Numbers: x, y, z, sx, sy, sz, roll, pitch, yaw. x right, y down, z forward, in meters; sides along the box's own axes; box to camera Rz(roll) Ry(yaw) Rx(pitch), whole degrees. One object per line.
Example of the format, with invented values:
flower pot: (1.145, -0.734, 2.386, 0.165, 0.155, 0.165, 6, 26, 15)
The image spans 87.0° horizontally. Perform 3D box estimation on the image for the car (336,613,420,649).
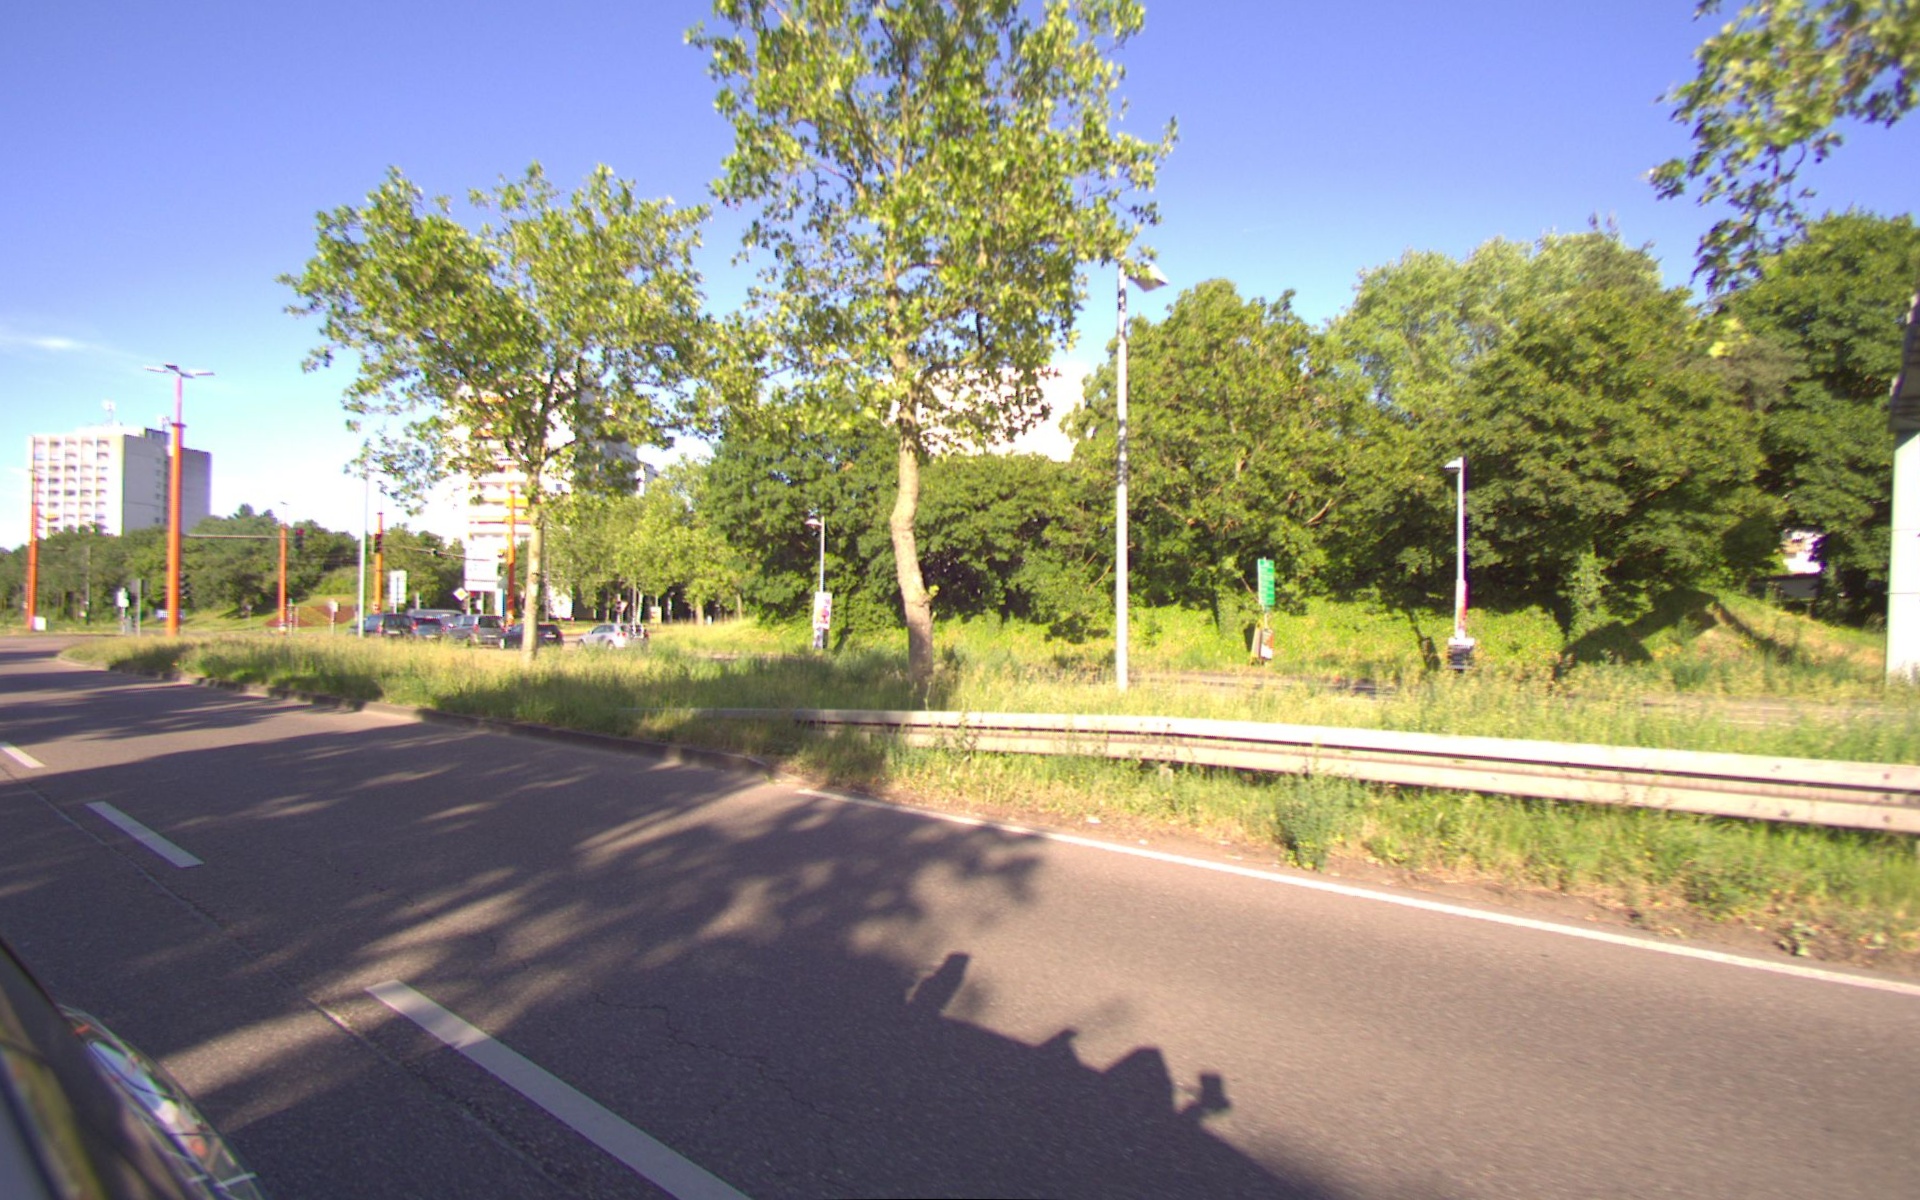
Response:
car: (-26.644, 1.432, 46.282, 4.562, 1.577, 1.879, -1, -4, 41)

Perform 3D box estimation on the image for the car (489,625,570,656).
car: (-21.535, 2.016, 50.593, 4.562, 1.486, 1.879, -1, -4, 41)

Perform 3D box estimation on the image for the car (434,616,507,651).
car: (-26.655, 1.829, 55.054, 4.444, 1.789, 1.879, -1, -4, 41)

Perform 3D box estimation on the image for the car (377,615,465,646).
car: (-39.244, 2.217, 73.845, 5.563, 2.221, 2.048, 0, -2, -26)

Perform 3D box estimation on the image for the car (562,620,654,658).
car: (-16.096, 1.786, 46.169, 4.562, 1.623, 1.879, -1, -4, 41)

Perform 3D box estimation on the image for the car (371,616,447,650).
car: (-28.108, 1.683, 51.571, 4.562, 1.623, 1.879, -1, -4, 41)
